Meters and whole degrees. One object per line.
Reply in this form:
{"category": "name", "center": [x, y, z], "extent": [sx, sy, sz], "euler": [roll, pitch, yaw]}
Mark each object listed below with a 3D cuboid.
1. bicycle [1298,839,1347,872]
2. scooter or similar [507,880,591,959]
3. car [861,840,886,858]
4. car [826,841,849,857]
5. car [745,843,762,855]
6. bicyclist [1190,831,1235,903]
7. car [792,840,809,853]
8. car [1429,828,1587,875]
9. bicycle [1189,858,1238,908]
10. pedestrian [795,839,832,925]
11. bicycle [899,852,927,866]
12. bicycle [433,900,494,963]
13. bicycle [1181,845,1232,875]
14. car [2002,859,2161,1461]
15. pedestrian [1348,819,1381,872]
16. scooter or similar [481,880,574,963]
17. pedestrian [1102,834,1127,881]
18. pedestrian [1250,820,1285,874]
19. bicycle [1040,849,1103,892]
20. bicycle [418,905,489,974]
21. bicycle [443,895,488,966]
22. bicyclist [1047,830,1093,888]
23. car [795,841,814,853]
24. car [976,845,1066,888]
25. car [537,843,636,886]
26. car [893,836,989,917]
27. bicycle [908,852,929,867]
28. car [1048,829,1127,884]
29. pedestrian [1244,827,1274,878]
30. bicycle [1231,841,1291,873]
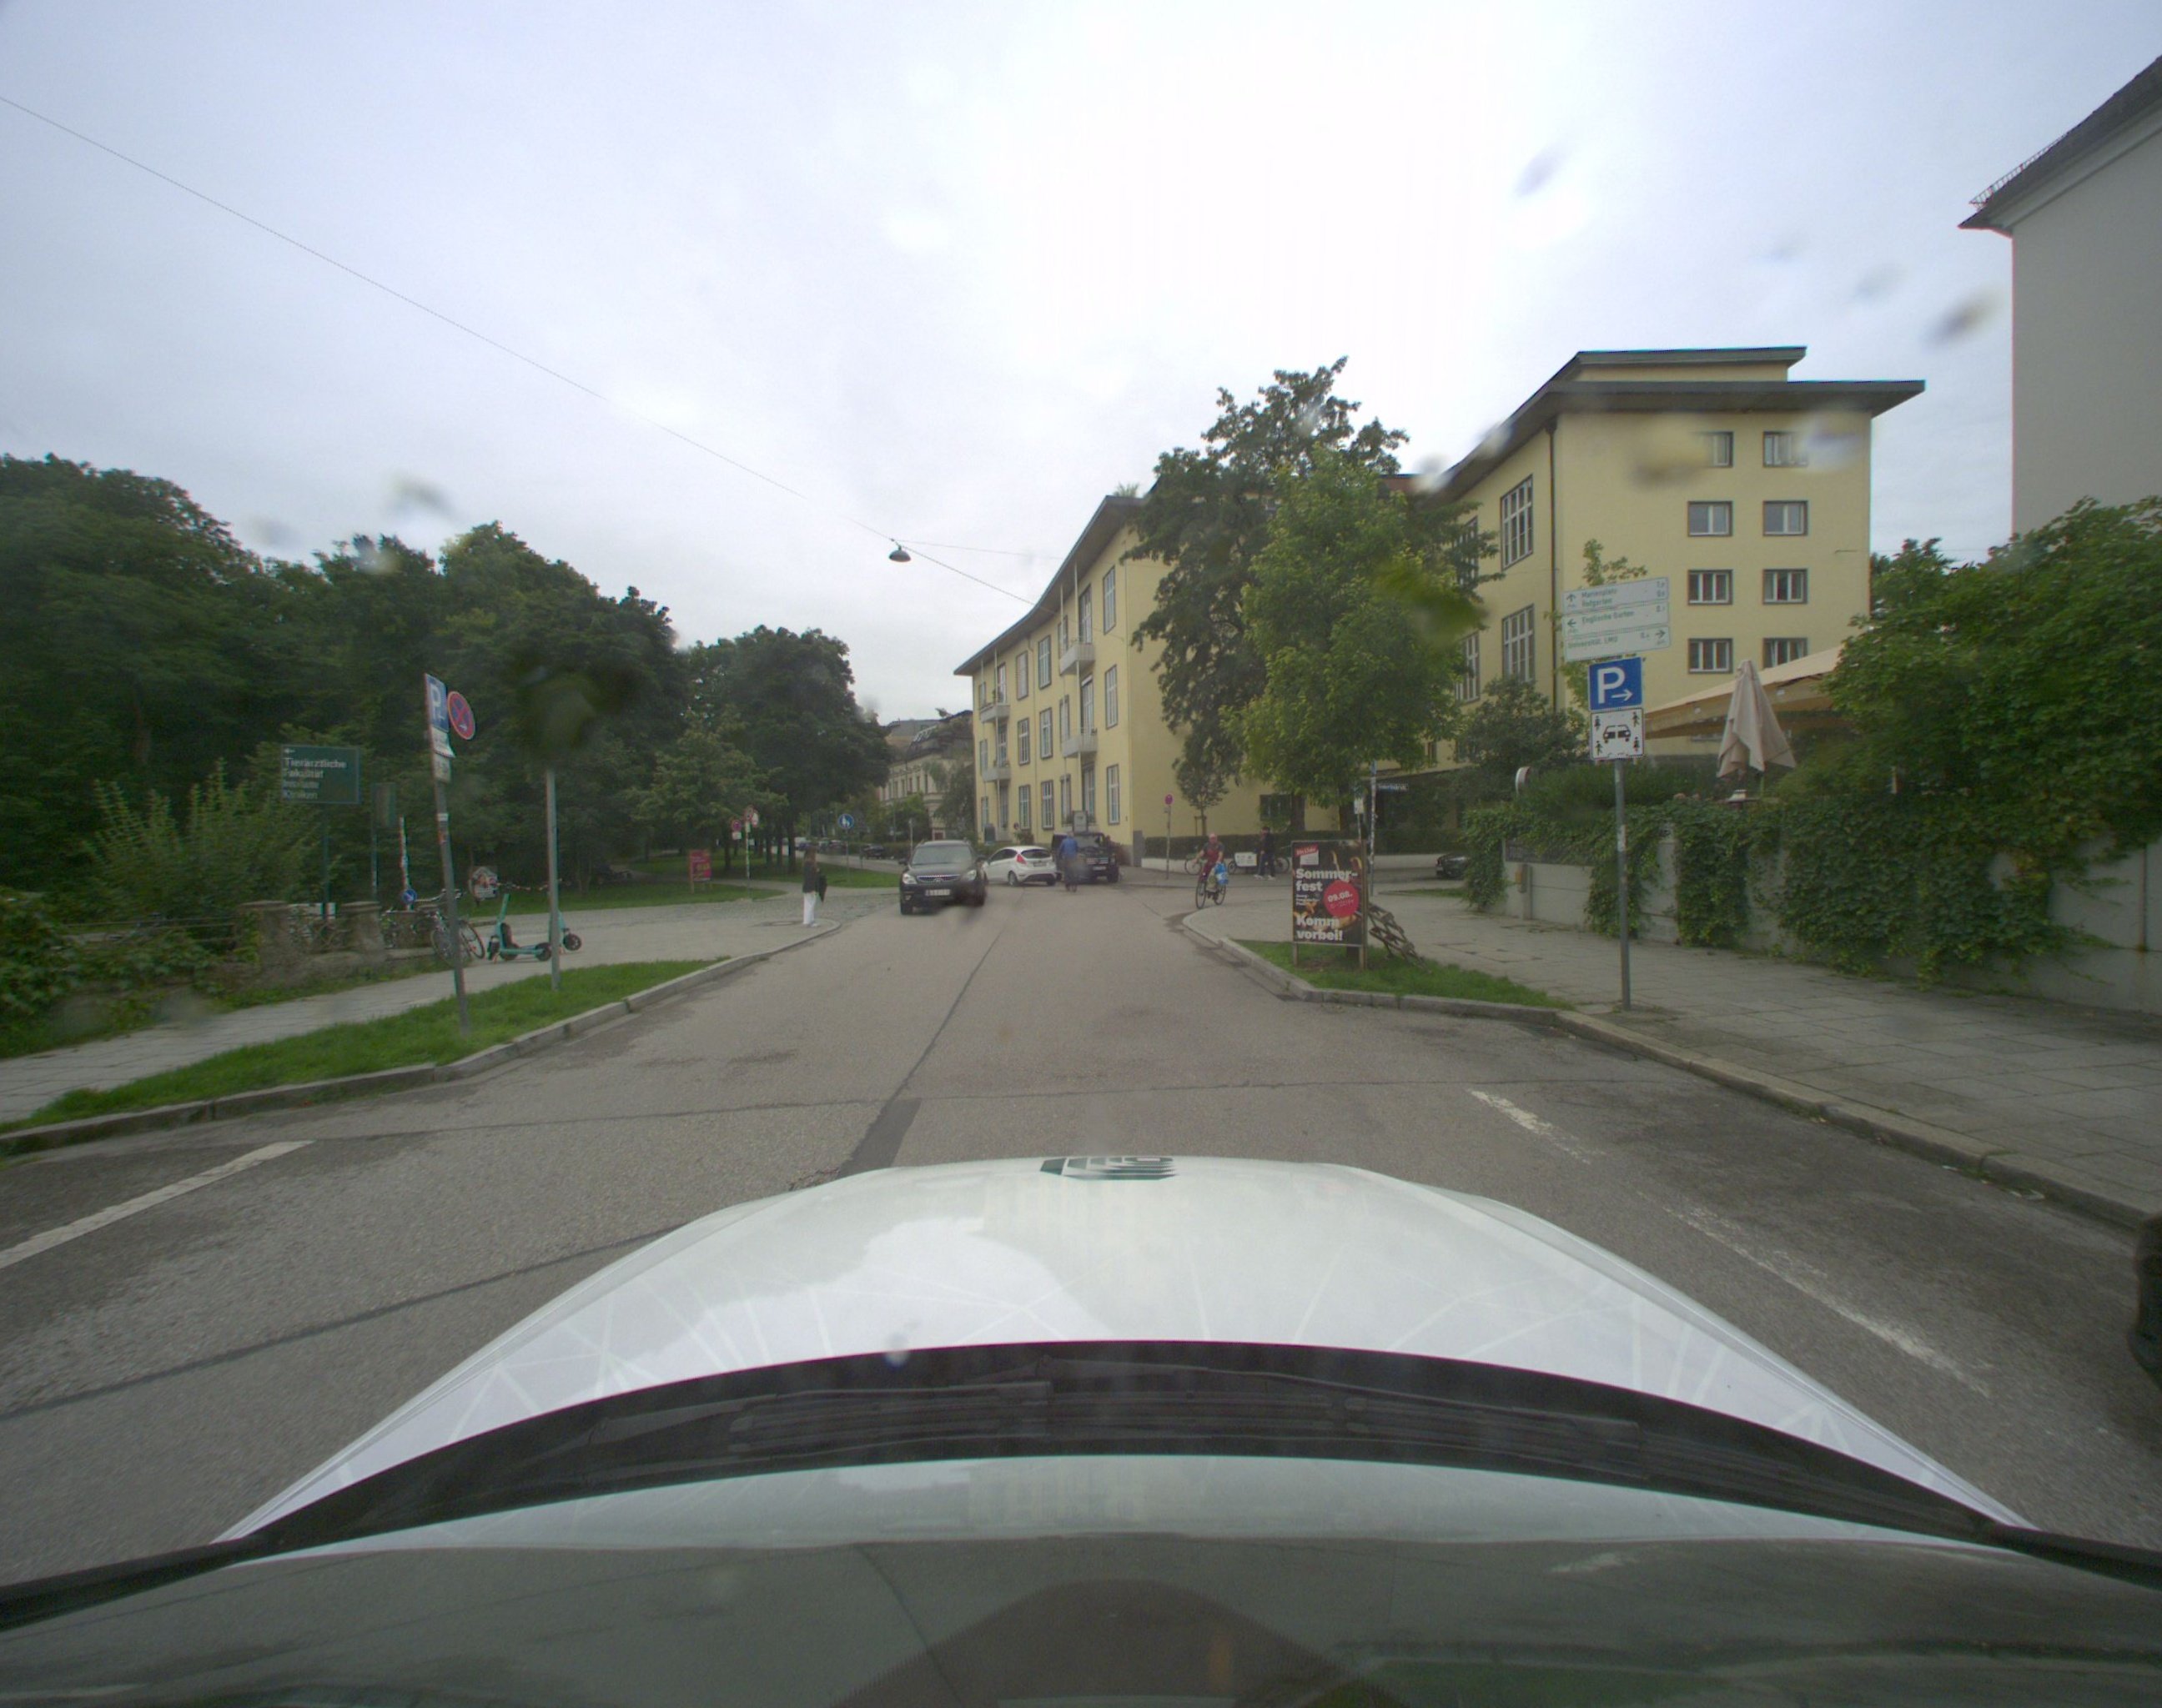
{"category": "bicycle", "center": [8.947, 0.049, 30.173], "extent": [1.678, 1.130, 0.460], "euler": [-2, 1, -3]}
{"category": "scooter or similar", "center": [-8.765, 1.061, 13.448], "extent": [0.434, 1.212, 1.060], "euler": [-2, -1, 30]}
{"category": "car", "center": [-19.044, -0.447, 74.761], "extent": [1.654, 1.558, 3.531], "euler": [-3, 2, -24]}
{"category": "car", "center": [-27.725, -0.548, 92.732], "extent": [1.803, 1.679, 3.965], "euler": [-3, 2, -27]}
{"category": "car", "center": [-45.801, -0.697, 113.857], "extent": [2.004, 1.600, 4.430], "euler": [-2, 1, -26]}
{"category": "bicyclist", "center": [3.099, 0.285, 19.106], "extent": [0.868, 1.609, 1.054], "euler": [-2, 1, 17]}
{"category": "car", "center": [-43.086, -1.121, 125.160], "extent": [2.075, 1.966, 4.940], "euler": [-2, 1, -23]}
{"category": "car", "center": [13.919, -0.064, 26.712], "extent": [4.306, 1.367, 1.662], "euler": [-2, -1, 0]}
{"category": "bicycle", "center": [3.164, 0.650, 19.249], "extent": [0.870, 1.019, 2.200], "euler": [-2, 1, 16]}
{"category": "pedestrian", "center": [-5.455, 0.558, 16.648], "extent": [0.543, 1.696, 0.663], "euler": [-4, 1, -13]}
{"category": "bicycle", "center": [-12.713, 0.359, 61.704], "extent": [1.988, 1.028, 0.612], "euler": [-2, 1, -39]}
{"category": "bicycle", "center": [-10.493, 1.296, 13.833], "extent": [1.259, 0.977, 0.417], "euler": [-2, 2, 35]}
{"category": "bicycle", "center": [4.871, 0.239, 31.773], "extent": [1.925, 1.084, 0.532], "euler": [-3, -1, 41]}
{"category": "car", "center": [3.517, 0.767, 0.291], "extent": [1.711, 1.394, 3.994], "euler": [2, 1, -5]}
{"category": "pedestrian", "center": [10.209, -0.302, 29.357], "extent": [0.848, 1.857, 0.766], "euler": [-3, 1, -2]}
{"category": "scooter or similar", "center": [-8.627, 1.052, 12.703], "extent": [1.252, 1.244, 0.395], "euler": [-2, -1, 10]}
{"category": "pedestrian", "center": [1.291, 0.118, 31.501], "extent": [0.845, 1.757, 0.954], "euler": [-2, 1, 0]}
{"category": "pedestrian", "center": [6.400, -0.238, 28.007], "extent": [0.987, 1.809, 0.659], "euler": [-2, 1, -2]}
{"category": "bicycle", "center": [-0.334, 0.500, 25.732], "extent": [0.927, 1.252, 2.299], "euler": [-3, 2, -30]}
{"category": "bicycle", "center": [-9.370, 1.254, 12.206], "extent": [0.434, 0.893, 1.321], "euler": [-2, -1, -20]}
{"category": "bicycle", "center": [-10.192, 1.247, 13.485], "extent": [1.176, 1.111, 0.303], "euler": [-2, 0, 39]}
{"category": "bicyclist", "center": [-0.360, 0.131, 25.768], "extent": [0.920, 1.764, 1.203], "euler": [-3, 1, -31]}
{"category": "car", "center": [-39.660, -0.950, 116.758], "extent": [2.004, 1.600, 4.217], "euler": [-2, 1, -27]}
{"category": "car", "center": [-2.274, 0.423, 30.110], "extent": [1.760, 1.406, 3.689], "euler": [-3, 2, -33]}
{"category": "car", "center": [-26.101, 0.517, 43.093], "extent": [1.765, 2.013, 4.026], "euler": [-2, 2, 30]}
{"category": "car", "center": [-3.376, 0.451, 20.495], "extent": [1.991, 1.718, 4.606], "euler": [-2, 1, -6]}
{"category": "bicycle", "center": [-12.376, 0.428, 61.966], "extent": [1.546, 1.014, 0.404], "euler": [-4, 2, -42]}
{"category": "car", "center": [0.164, 0.045, 31.667], "extent": [1.877, 1.887, 4.595], "euler": [-2, 1, -15]}
{"category": "pedestrian", "center": [6.348, -0.059, 29.054], "extent": [0.824, 1.746, 0.740], "euler": [-2, 1, -3]}
{"category": "bicycle", "center": [6.770, 0.120, 30.585], "extent": [2.152, 1.115, 0.643], "euler": [-2, 1, 15]}
